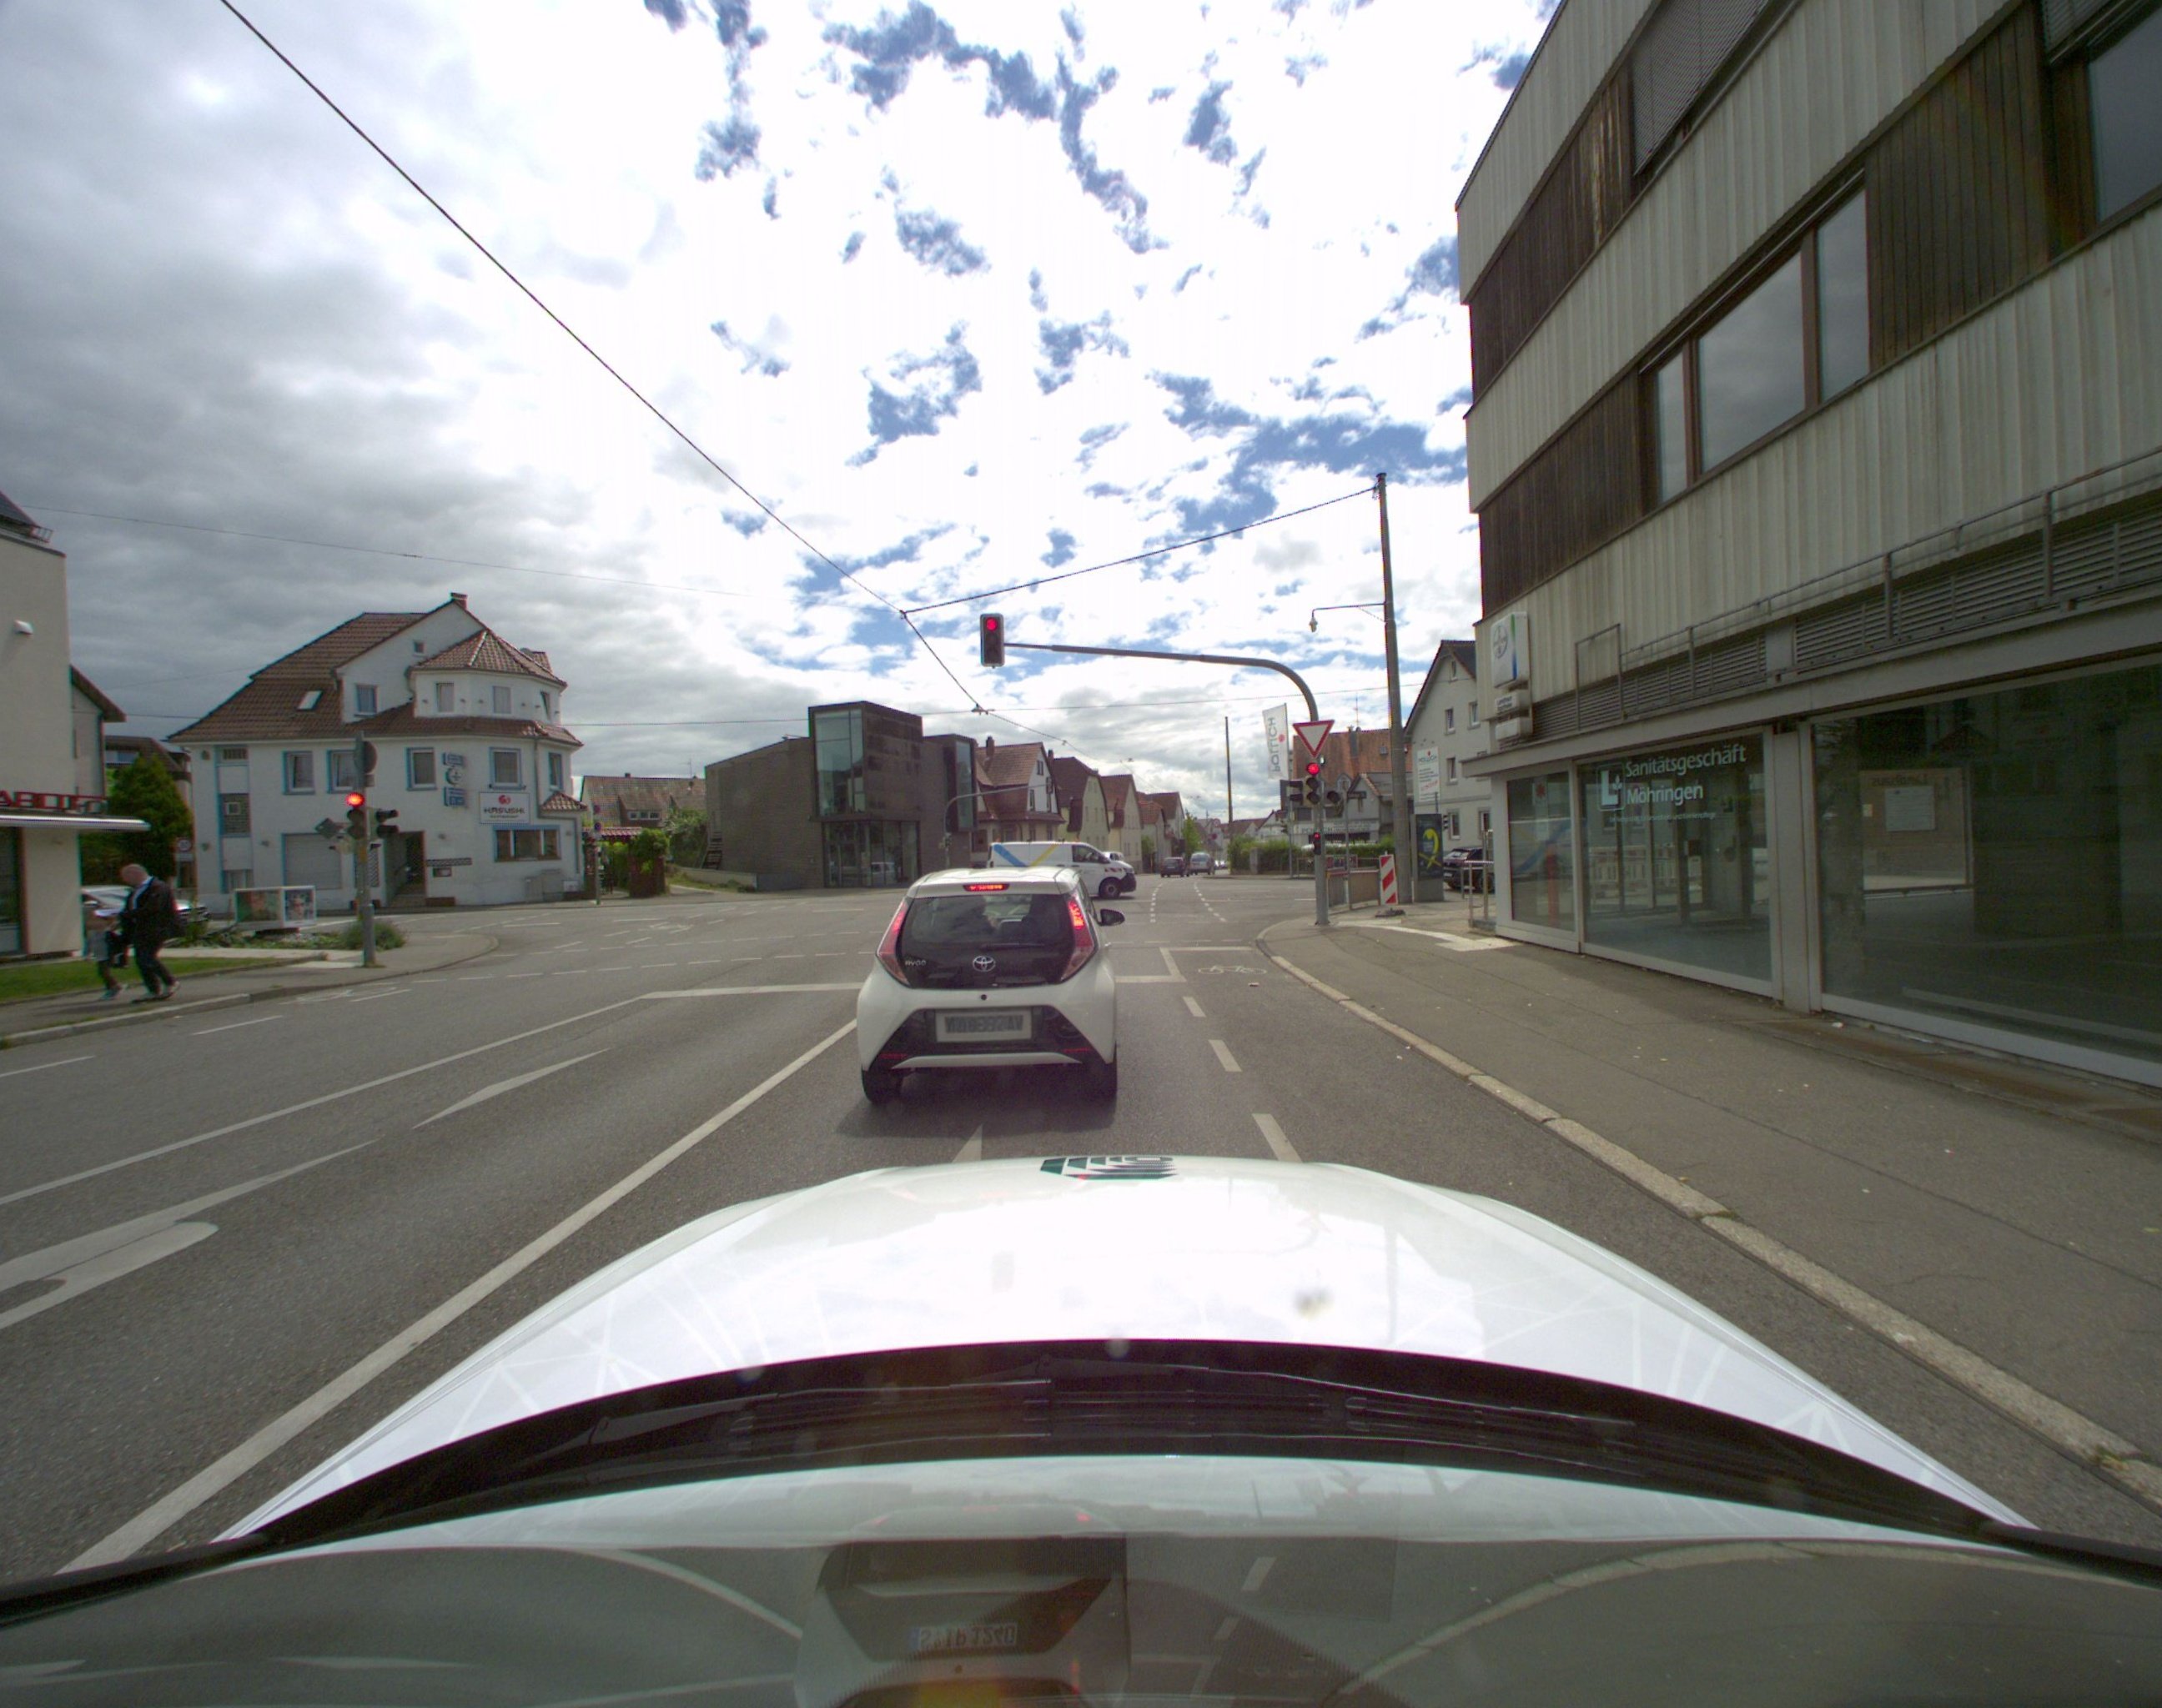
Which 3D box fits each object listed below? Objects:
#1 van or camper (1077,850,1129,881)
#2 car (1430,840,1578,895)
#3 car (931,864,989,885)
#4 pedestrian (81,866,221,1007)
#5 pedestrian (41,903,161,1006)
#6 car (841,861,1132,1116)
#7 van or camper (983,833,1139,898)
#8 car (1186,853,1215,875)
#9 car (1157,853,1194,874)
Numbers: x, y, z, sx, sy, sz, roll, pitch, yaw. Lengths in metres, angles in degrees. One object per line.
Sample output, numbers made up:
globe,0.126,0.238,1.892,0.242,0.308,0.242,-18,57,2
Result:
van or camper,1.561,0.722,54.257,2.099,1.926,5.308,-1,0,17
car,15.490,0.446,29.963,4.495,1.742,1.996,-2,2,-7
car,-8.475,1.449,57.103,3.589,1.419,1.697,-1,0,13
pedestrian,-12.016,1.030,10.556,0.813,1.721,0.823,-2,0,-5
pedestrian,-12.763,1.288,10.630,0.643,1.221,0.734,-2,0,-5
car,-0.549,0.797,6.424,1.691,1.456,3.298,-1,0,0
van or camper,-0.734,0.372,27.411,5.113,2.077,1.995,0,0,-8
car,10.325,0.869,70.275,1.979,1.849,4.089,-1,0,15
car,6.935,0.688,59.544,1.978,1.486,4.018,-1,0,18
